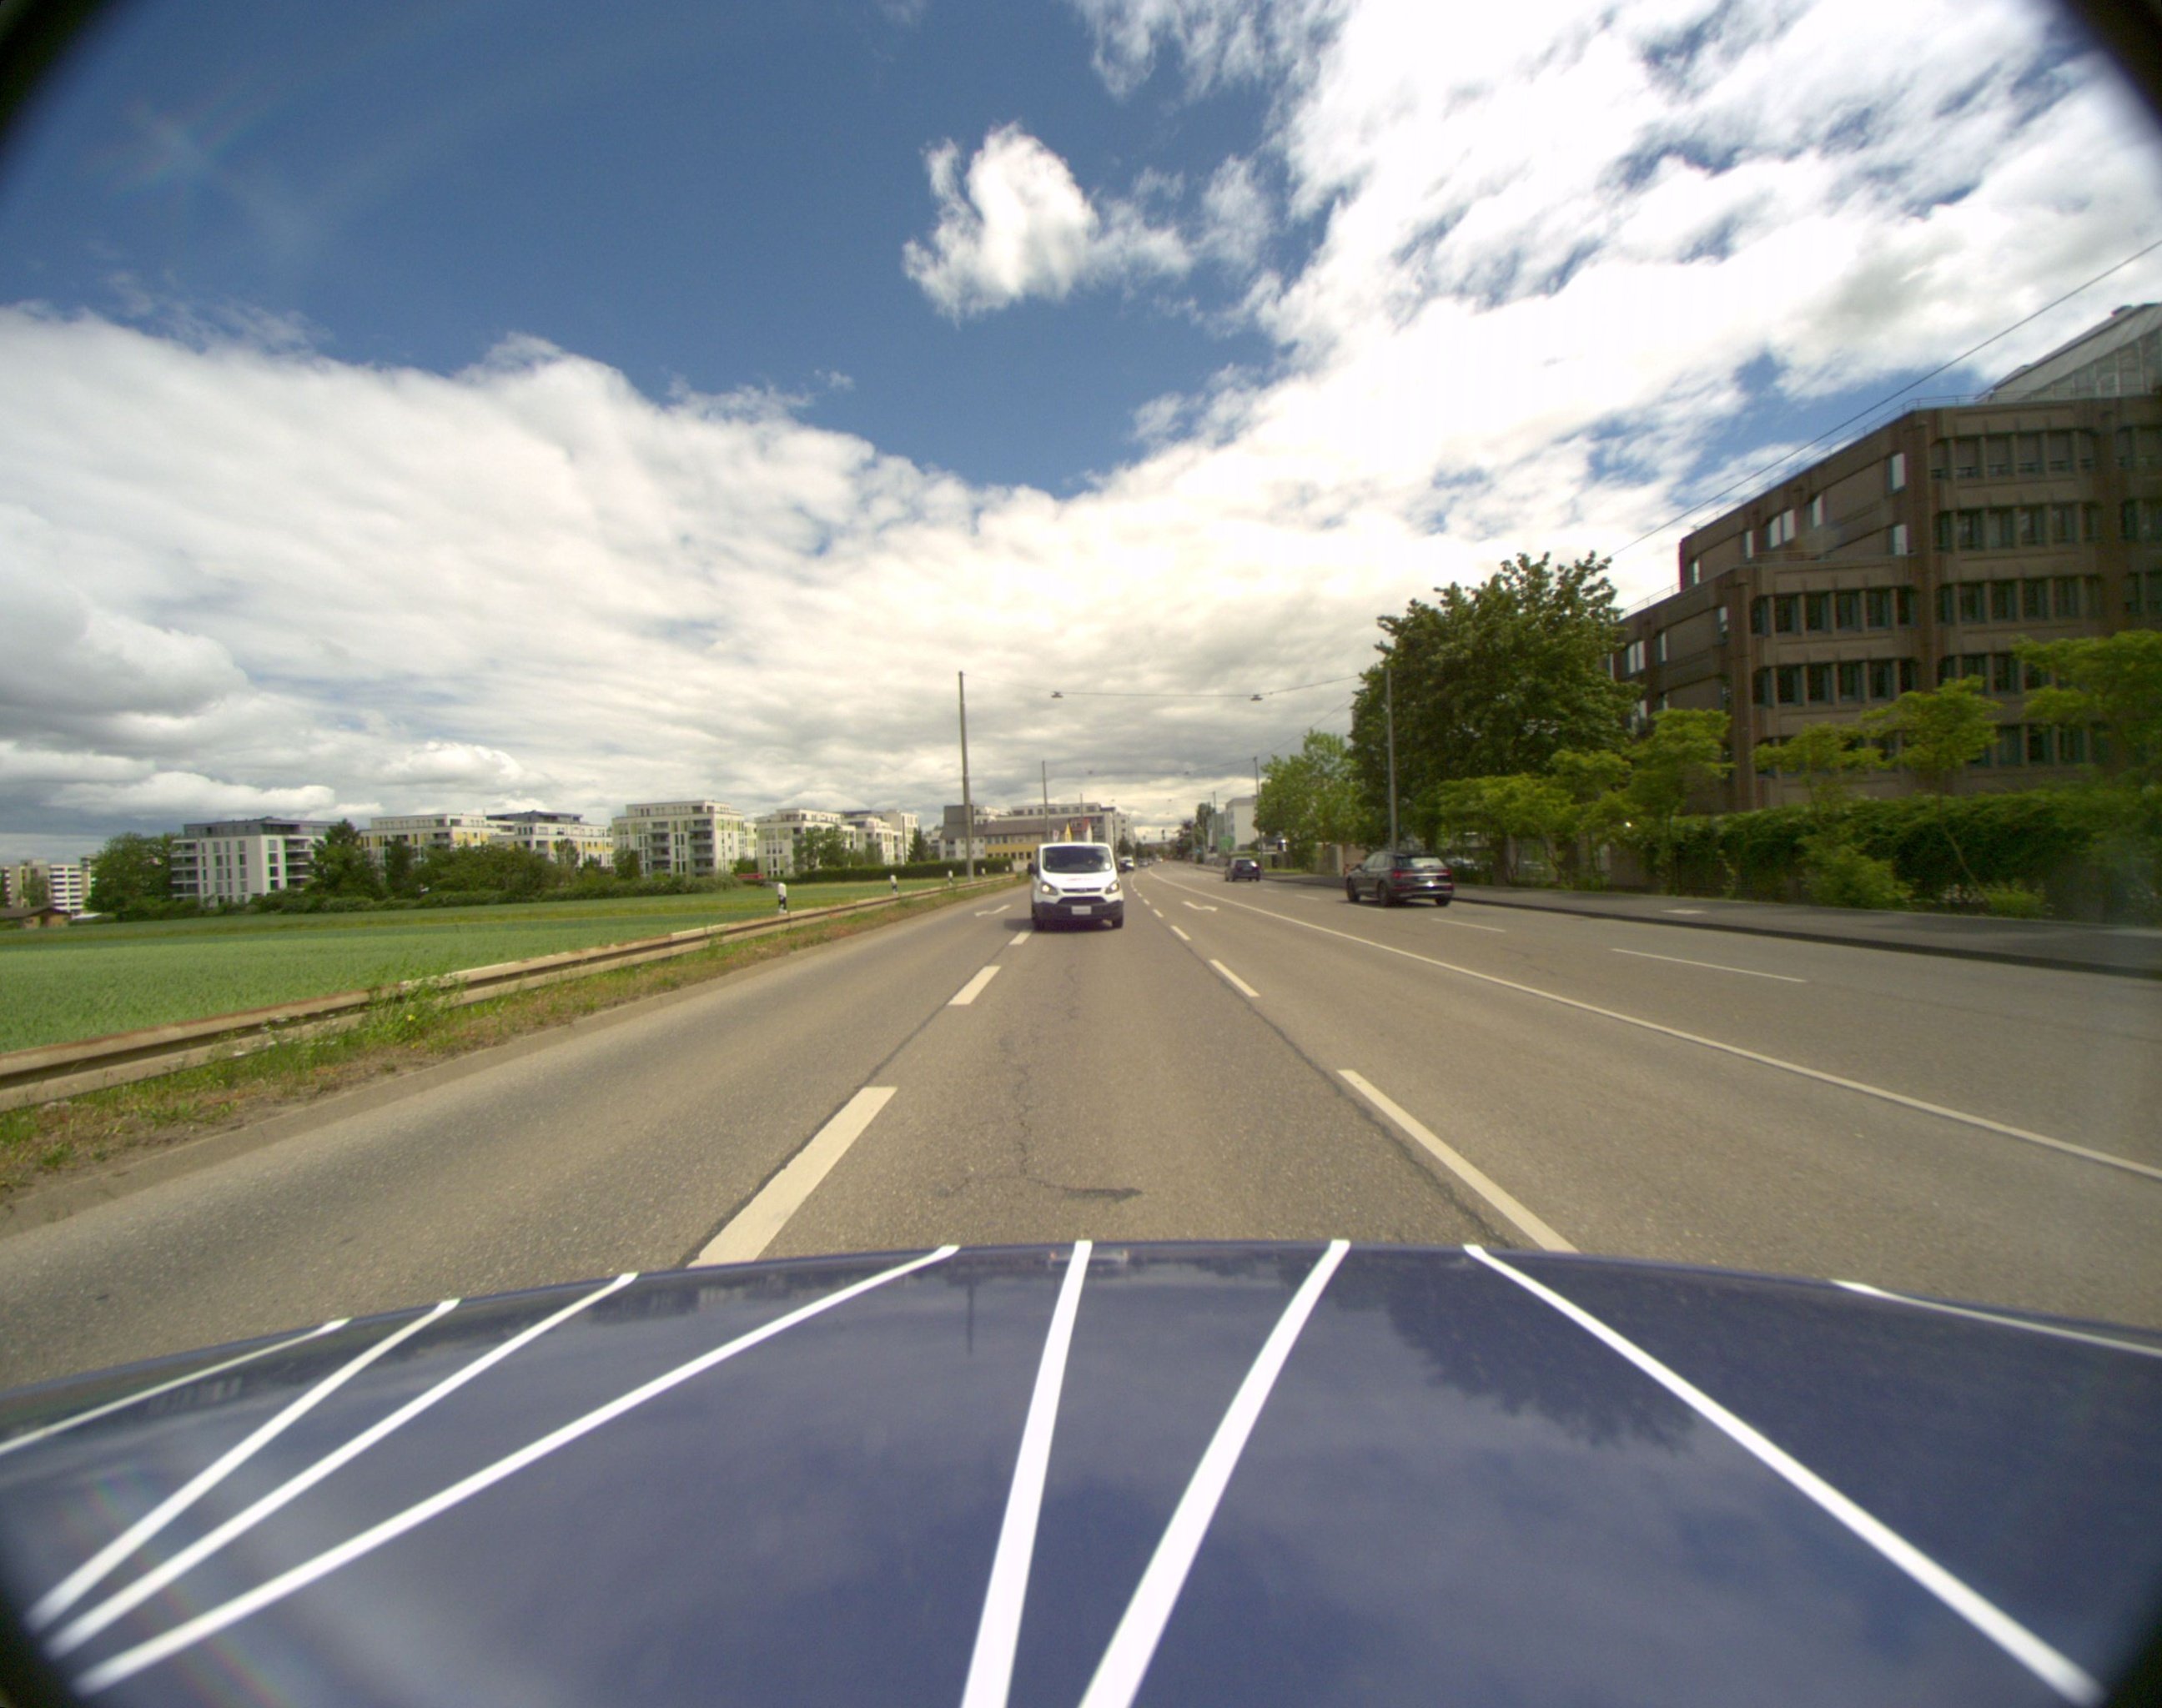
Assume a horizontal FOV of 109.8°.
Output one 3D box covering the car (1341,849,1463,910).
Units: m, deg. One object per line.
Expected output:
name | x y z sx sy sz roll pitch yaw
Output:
car | 9.619 0.683 23.210 1.872 1.605 4.572 -2 1 2

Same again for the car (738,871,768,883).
car | -60.246 4.199 139.591 4.436 2.002 2.000 -2 1 1

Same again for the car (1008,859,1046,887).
car | -3.167 1.138 45.566 1.843 1.528 4.807 -2 -2 0

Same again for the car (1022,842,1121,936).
car | -0.123 0.702 18.875 1.998 1.907 5.882 -2 1 1

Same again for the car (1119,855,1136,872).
car | 6.141 1.241 99.905 1.998 2.002 4.000 -2 1 1

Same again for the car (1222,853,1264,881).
car | 10.529 0.812 49.743 1.801 1.576 4.313 -3 1 1

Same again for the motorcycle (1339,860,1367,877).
motorcycle | 21.260 1.102 59.437 1.905 1.237 0.746 -2 1 1
